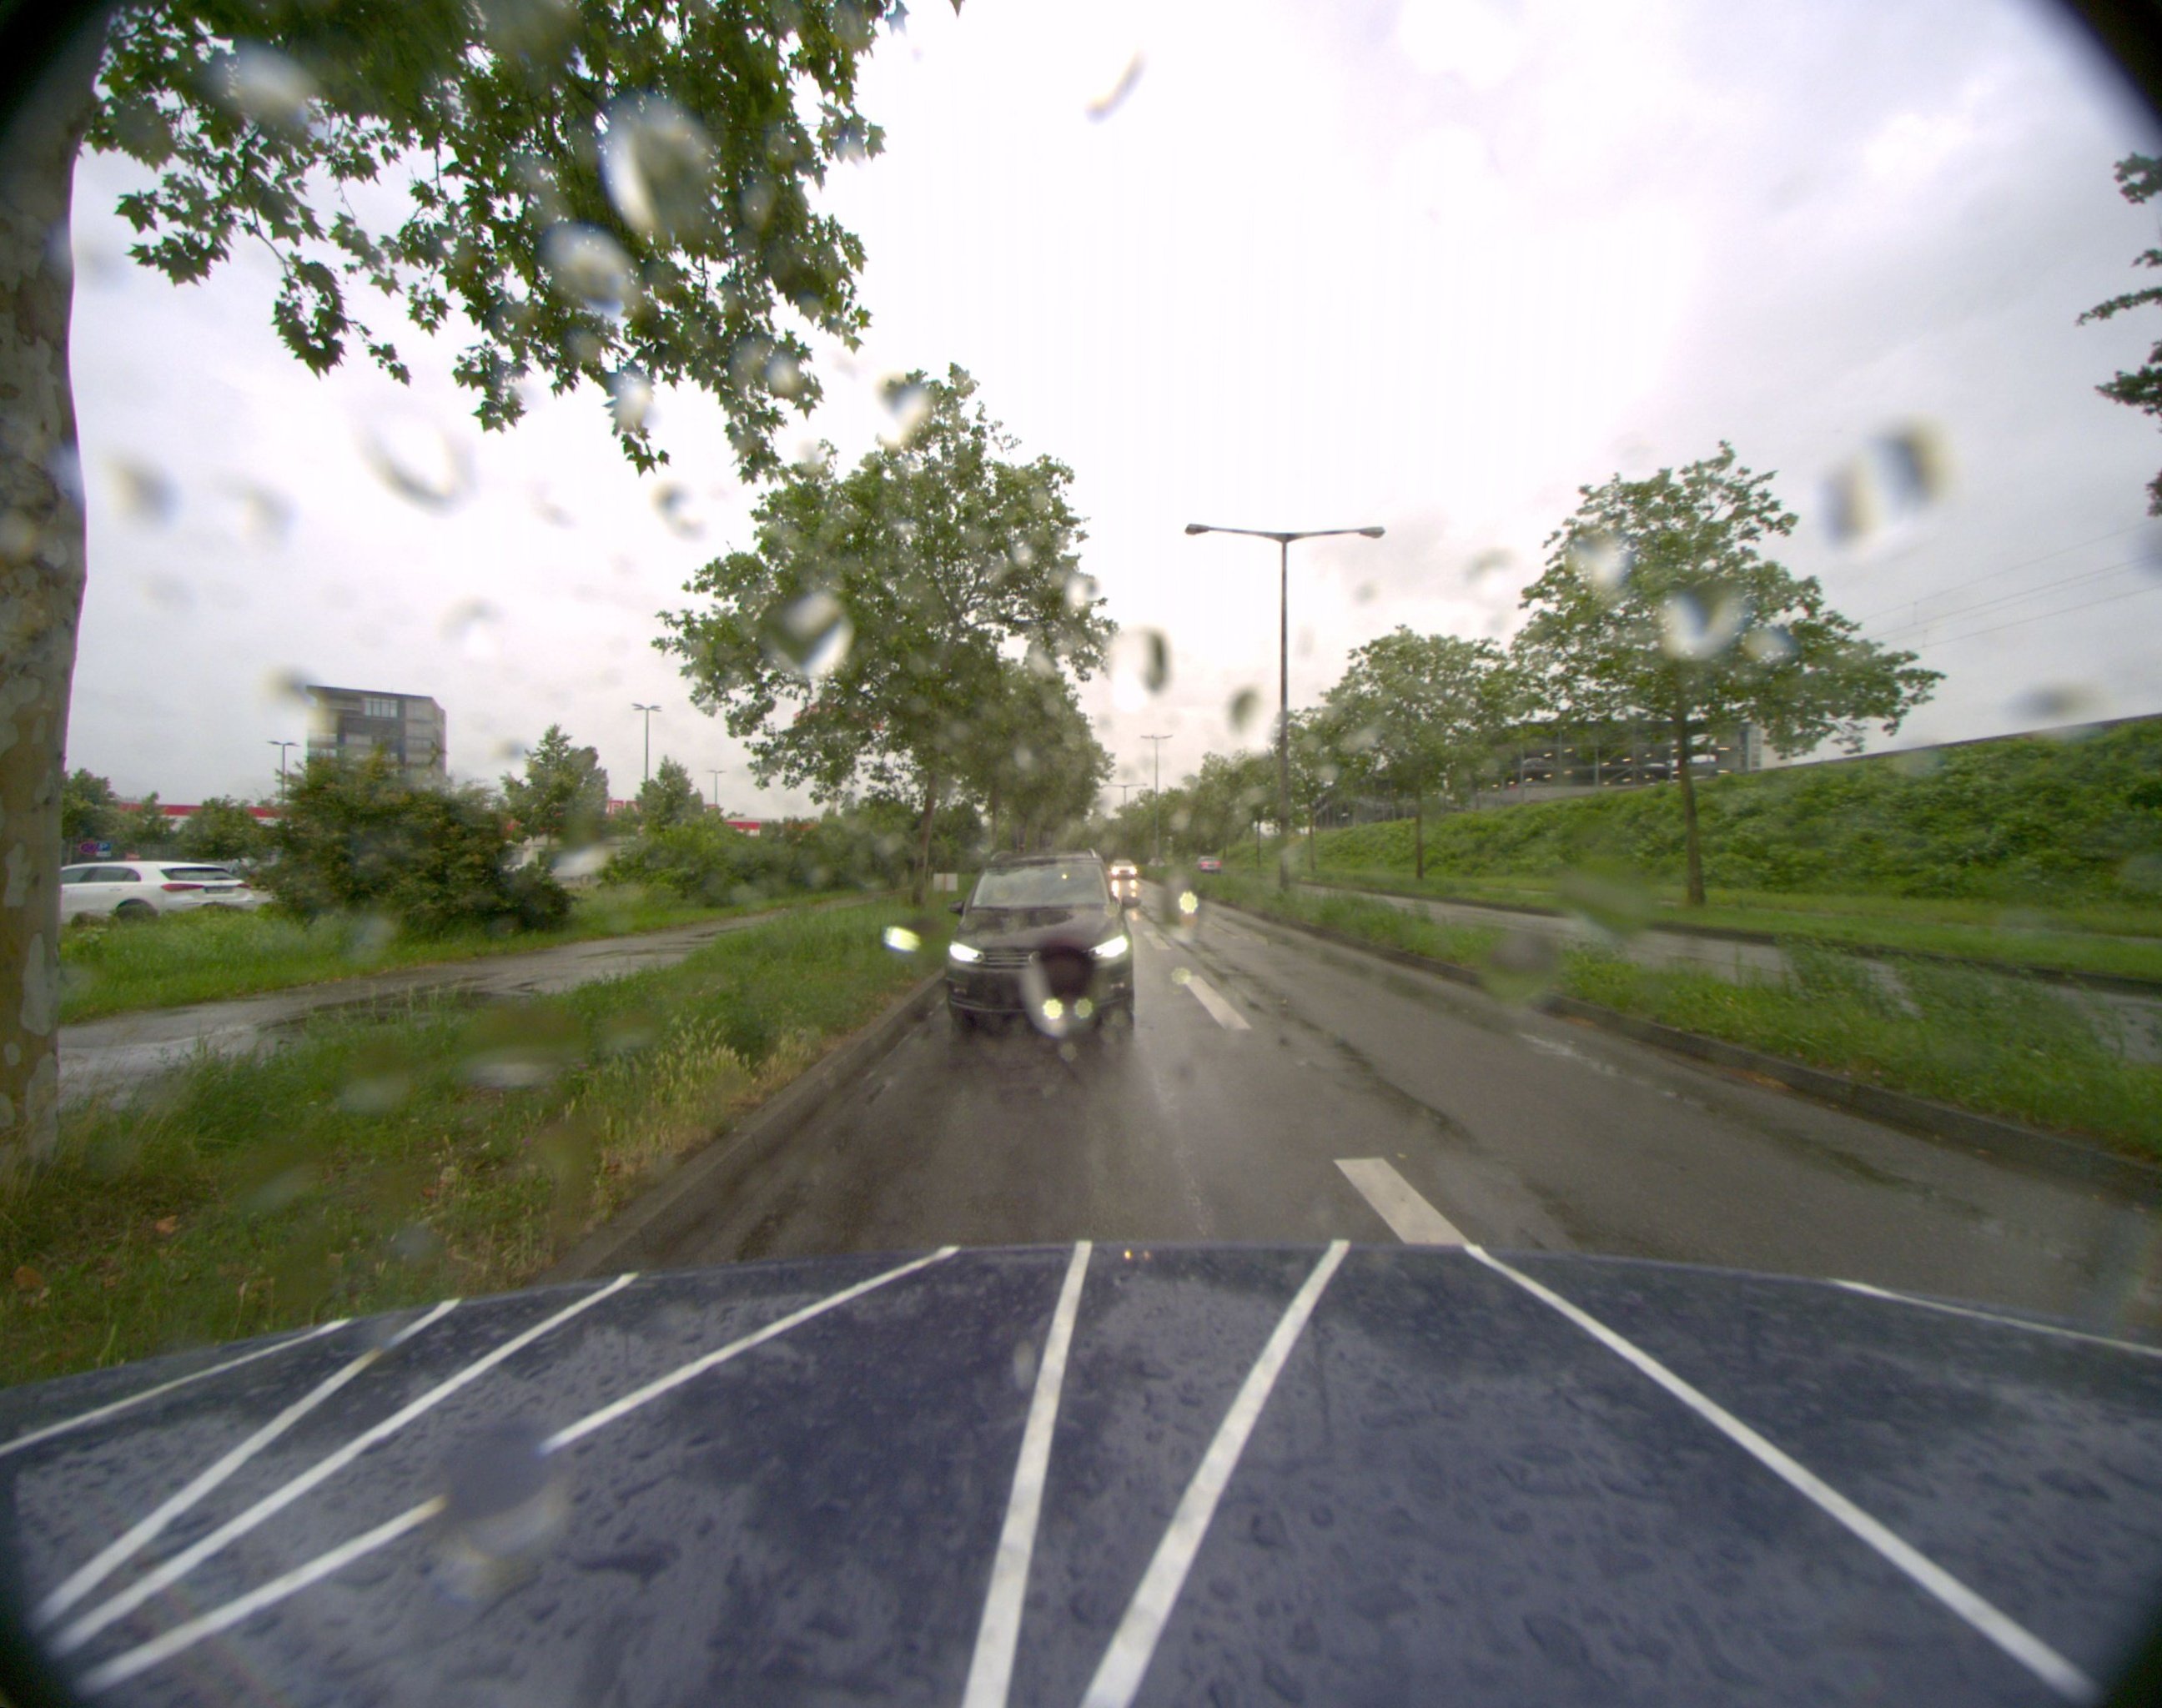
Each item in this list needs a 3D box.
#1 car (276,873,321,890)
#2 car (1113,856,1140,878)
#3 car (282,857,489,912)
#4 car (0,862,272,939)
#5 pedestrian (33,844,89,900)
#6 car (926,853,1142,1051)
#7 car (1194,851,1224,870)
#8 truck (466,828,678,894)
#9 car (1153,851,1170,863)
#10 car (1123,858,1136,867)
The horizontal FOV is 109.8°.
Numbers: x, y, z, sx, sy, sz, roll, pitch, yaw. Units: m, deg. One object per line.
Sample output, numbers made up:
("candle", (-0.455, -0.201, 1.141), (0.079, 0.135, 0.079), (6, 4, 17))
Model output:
("car", (-67.317, 2.318, 65.431), (1.864, 1.348, 3.866), (-1, 0, -33))
("car", (3.284, 0.896, 55.853), (1.729, 1.470, 4.000), (-2, 0, 1))
("car", (-19.995, 0.835, 22.018), (3.998, 1.357, 1.999), (-2, 1, -3))
("car", (-19.736, 0.917, 15.631), (3.998, 1.357, 1.867), (-2, 1, -3))
("pedestrian", (-32.801, 0.580, 24.443), (0.704, 1.777, 0.799), (0, 0, -4))
("car", (-0.336, 0.839, 8.845), (1.788, 1.605, 4.717), (-2, 0, 2))
("car", (11.343, 0.586, 67.529), (1.861, 1.580, 4.518), (2, 0, 0))
("truck", (-19.855, 0.251, 29.941), (6.552, 2.291, 2.219), (-2, 1, -6))
("car", (10.810, 0.441, 102.404), (1.861, 1.580, 4.518), (0, 0, 1))
("car", (8.164, 1.392, 128.665), (1.936, 1.436, 4.657), (-1, 0, 0))
